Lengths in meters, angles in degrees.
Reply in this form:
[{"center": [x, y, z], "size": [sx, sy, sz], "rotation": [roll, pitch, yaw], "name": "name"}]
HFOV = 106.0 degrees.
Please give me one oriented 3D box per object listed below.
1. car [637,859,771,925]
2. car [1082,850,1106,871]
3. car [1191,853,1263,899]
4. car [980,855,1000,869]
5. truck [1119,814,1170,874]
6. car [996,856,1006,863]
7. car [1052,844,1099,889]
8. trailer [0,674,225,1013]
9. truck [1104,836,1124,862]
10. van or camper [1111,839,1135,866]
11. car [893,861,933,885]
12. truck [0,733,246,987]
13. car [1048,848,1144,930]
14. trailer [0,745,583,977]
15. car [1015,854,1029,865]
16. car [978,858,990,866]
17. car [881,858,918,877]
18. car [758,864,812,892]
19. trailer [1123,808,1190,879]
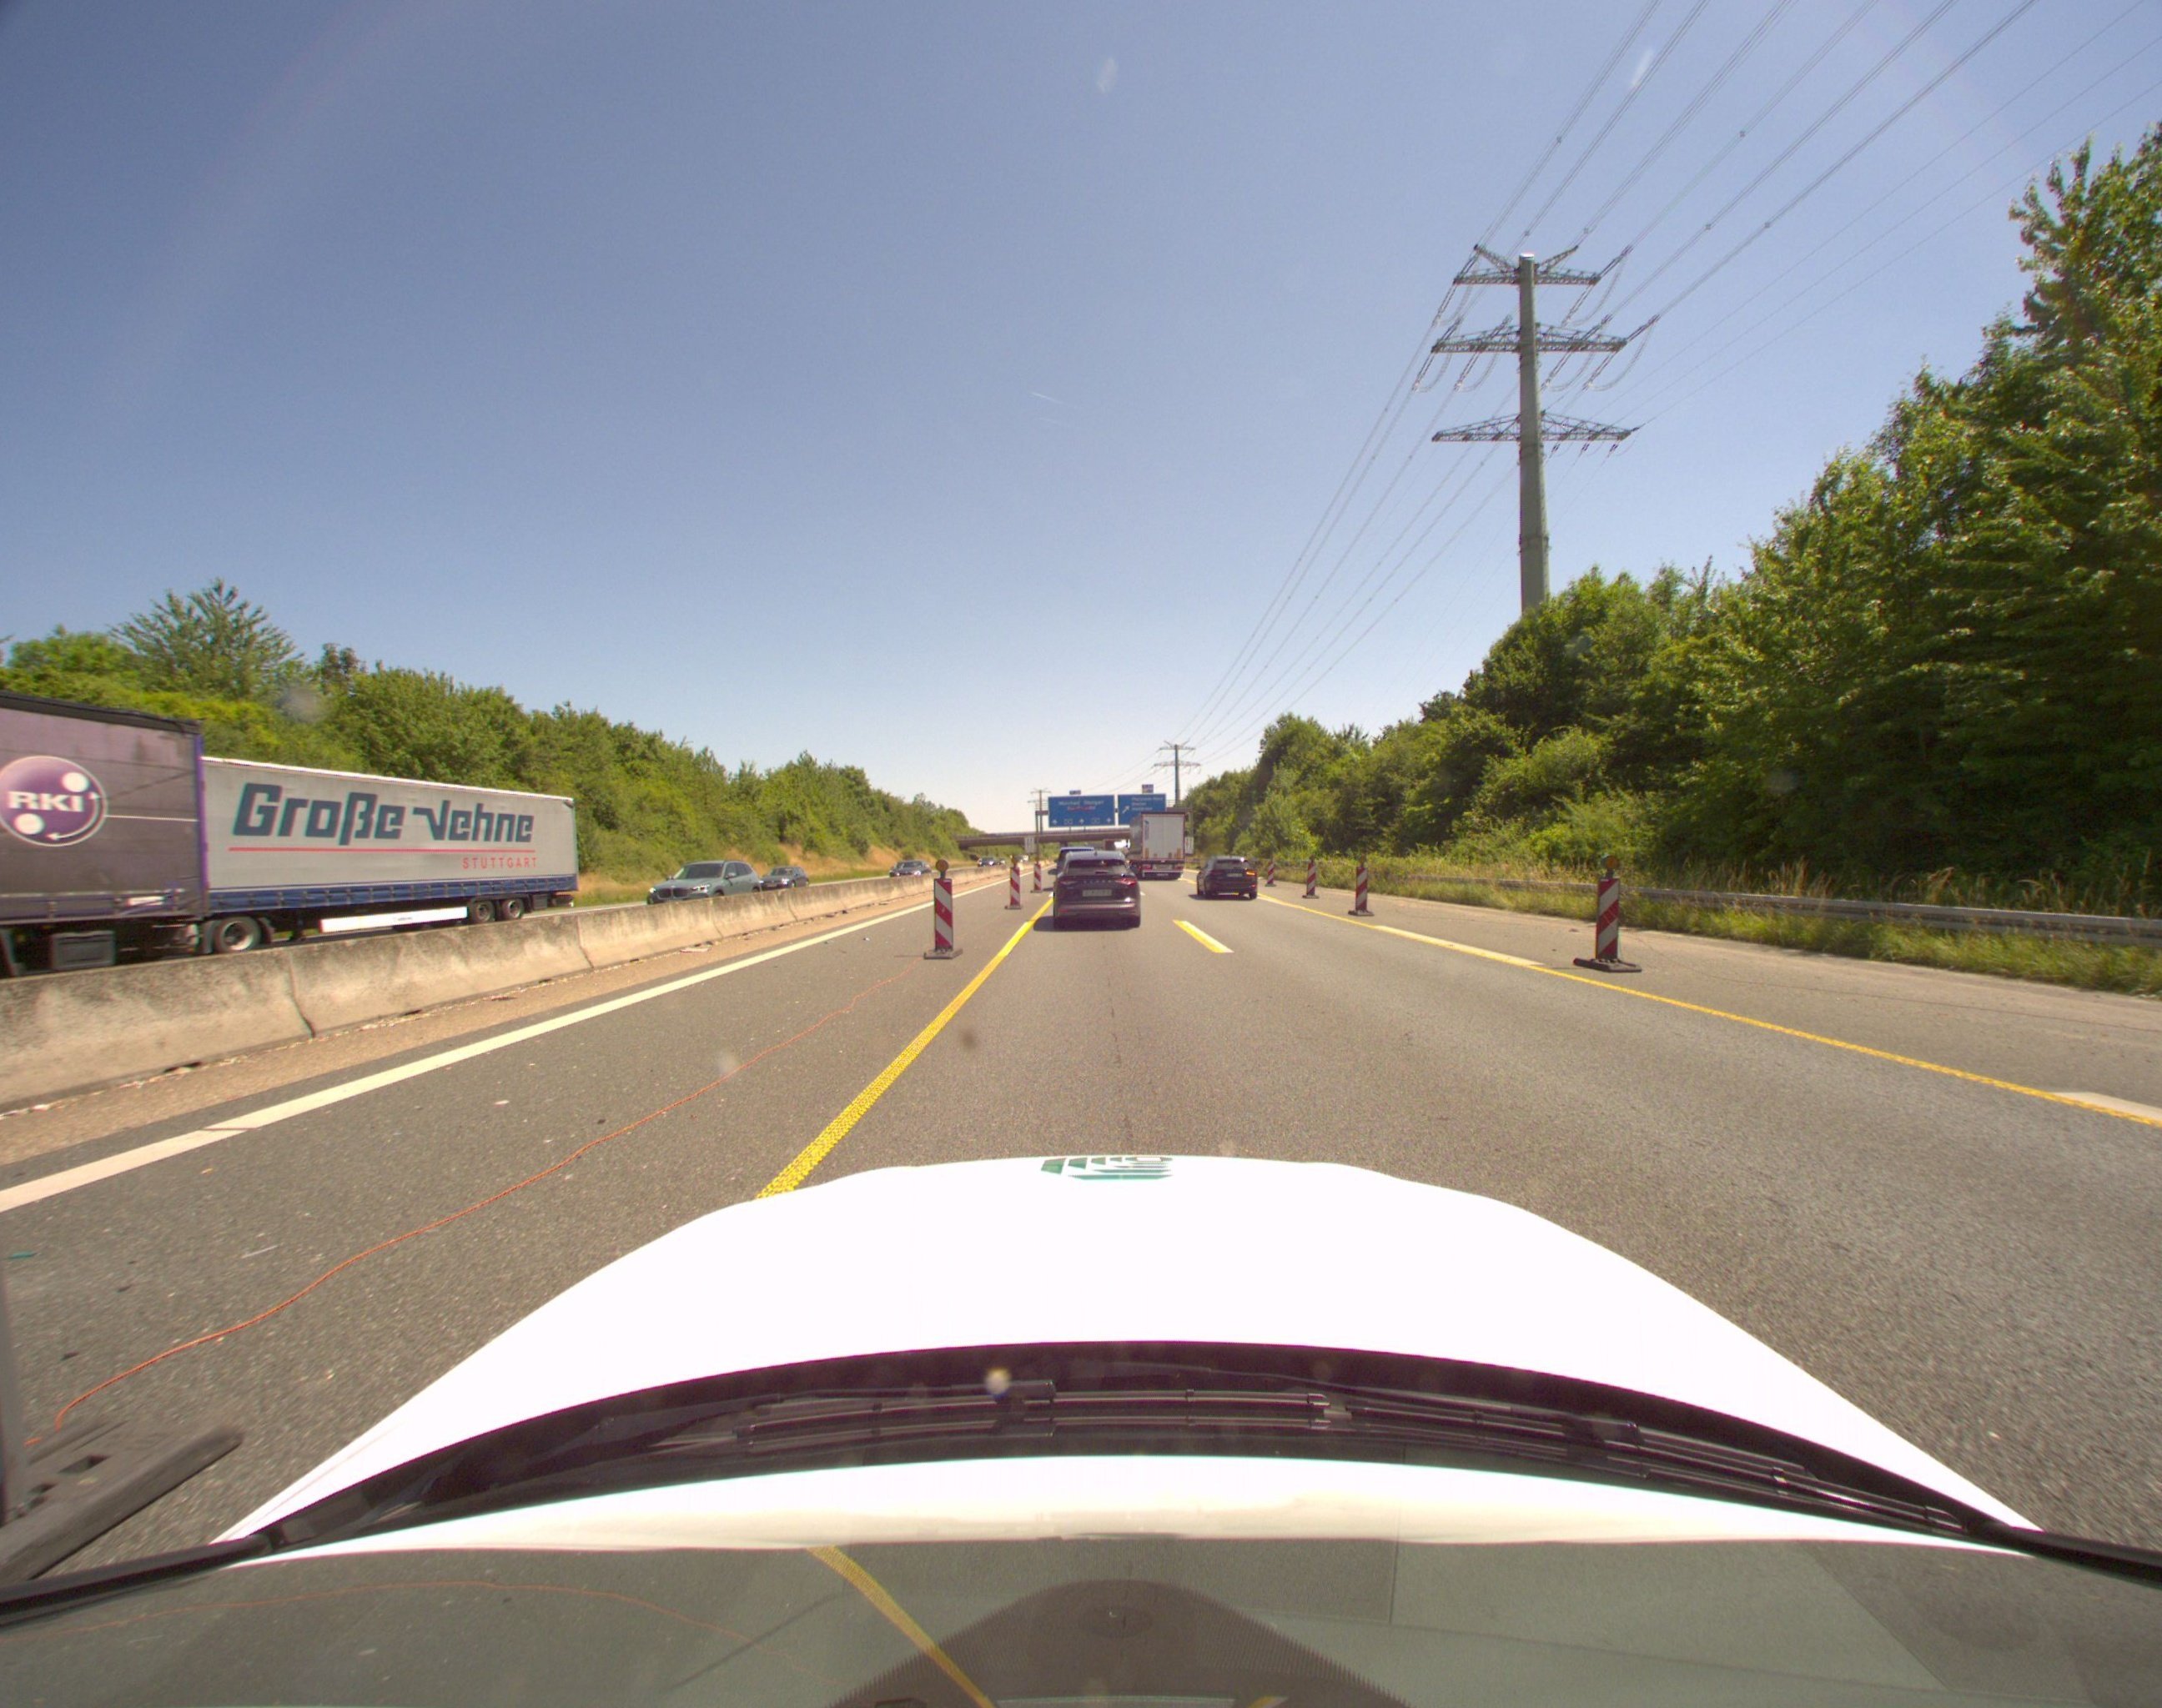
[{"center": [-11.062, 1.037, 24.290], "size": [1.835, 1.714, 4.396], "rotation": [-2, 0, 1], "name": "car"}, {"center": [1.058, 0.488, 67.211], "size": [1.890, 1.509, 4.442], "rotation": [1, 2, 0], "name": "car"}, {"center": [5.090, 0.736, 28.941], "size": [1.773, 1.489, 4.463], "rotation": [0, 0, 0], "name": "car"}, {"center": [-10.596, 0.913, 95.128], "size": [1.843, 1.460, 4.488], "rotation": [-2, 0, 0], "name": "car"}, {"center": [4.552, -0.660, 59.681], "size": [3.016, 4.087, 7.792], "rotation": [0, 0, -1], "name": "truck"}, {"center": [-17.323, 1.193, 176.171], "size": [1.494, 1.548, 4.001], "rotation": [-2, 0, 1], "name": "car"}, {"center": [-0.241, 0.563, 36.604], "size": [1.890, 1.842, 4.441], "rotation": [2, -1, 0], "name": "car"}, {"center": [-14.871, -0.090, 5.741], "size": [3.150, 4.180, 13.681], "rotation": [-2, 0, 0], "name": "trailer"}, {"center": [5.293, -0.766, 133.187], "size": [3.066, 4.146, 13.059], "rotation": [0, 0, 2], "name": "truck"}, {"center": [4.871, -0.232, 95.927], "size": [2.577, 2.968, 6.087], "rotation": [3, 0, 2], "name": "van or camper"}, {"center": [-11.011, 1.215, 53.610], "size": [1.610, 1.442, 3.992], "rotation": [-2, 0, 2], "name": "car"}, {"center": [-18.819, 0.155, 14.230], "size": [2.937, 4.077, 5.194], "rotation": [-2, 0, -1], "name": "truck"}, {"center": [0.283, 0.682, 18.321], "size": [1.890, 1.592, 4.441], "rotation": [-1, 0, 0], "name": "car"}, {"center": [-18.858, 0.147, 21.459], "size": [2.944, 4.061, 13.633], "rotation": [-3, 0, 0], "name": "trailer"}, {"center": [-9.718, 0.898, 134.774], "size": [1.987, 1.600, 4.583], "rotation": [-2, 0, 1], "name": "car"}, {"center": [-17.873, 1.482, 149.813], "size": [1.568, 1.464, 3.779], "rotation": [-2, 0, 1], "name": "car"}, {"center": [-15.460, 1.135, 69.615], "size": [1.986, 1.460, 4.589], "rotation": [-2, 0, 2], "name": "car"}, {"center": [-16.131, 1.276, 44.590], "size": [1.499, 1.396, 4.086], "rotation": [-2, 0, -2], "name": "car"}, {"center": [4.669, -0.603, 52.735], "size": [3.056, 4.042, 11.482], "rotation": [-1, 0, -1], "name": "trailer"}]
